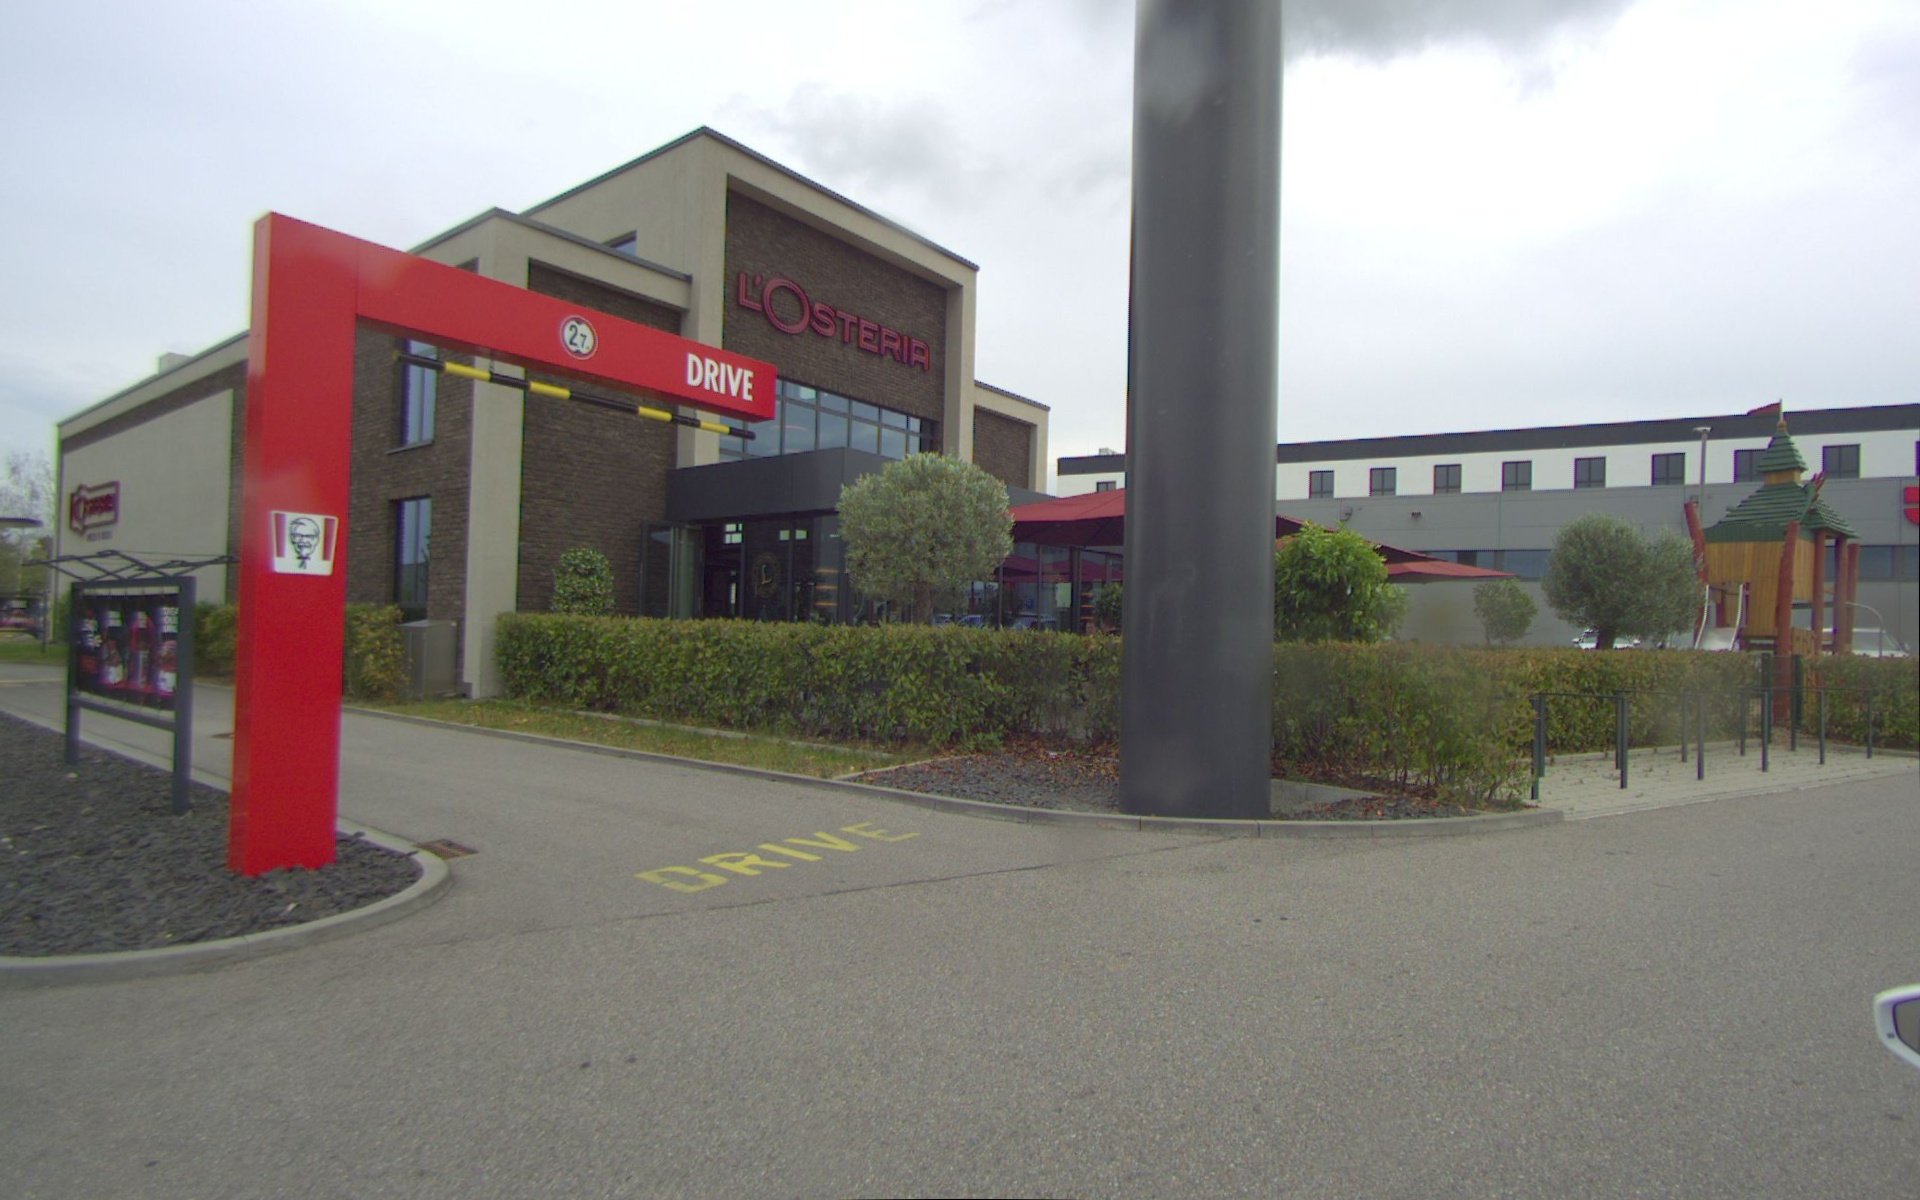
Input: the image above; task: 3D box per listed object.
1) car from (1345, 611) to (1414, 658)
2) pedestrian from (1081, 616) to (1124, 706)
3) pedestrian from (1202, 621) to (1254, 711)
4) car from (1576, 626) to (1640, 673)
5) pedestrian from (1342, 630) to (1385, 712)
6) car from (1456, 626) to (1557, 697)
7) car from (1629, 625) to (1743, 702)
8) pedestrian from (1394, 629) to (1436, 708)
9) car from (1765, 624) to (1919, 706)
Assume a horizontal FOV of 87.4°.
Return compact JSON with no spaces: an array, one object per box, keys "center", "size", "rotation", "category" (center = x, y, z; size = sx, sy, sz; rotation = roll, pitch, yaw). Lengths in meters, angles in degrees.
[{"center":[16.201,1.342,38.663],"size":[1.964,1.660,4.799],"rotation":[1,-2,28],"category":"car"},{"center":[1.973,0.836,13.927],"size":[0.415,1.215,0.454],"rotation":[-2,-3,43],"category":"pedestrian"},{"center":[5.407,1.328,20.280],"size":[0.695,1.771,0.737],"rotation":[1,-3,-28],"category":"pedestrian"},{"center":[22.745,1.746,35.383],"size":[1.712,1.572,4.256],"rotation":[-1,-3,31],"category":"car"},{"center":[8.952,1.559,22.257],"size":[0.731,1.771,0.701],"rotation":[-1,-3,35],"category":"pedestrian"},{"center":[14.405,1.582,26.370],"size":[1.966,1.672,4.566],"rotation":[-1,-3,33],"category":"car"},{"center":[17.496,1.503,24.394],"size":[1.966,1.672,4.566],"rotation":[-1,-3,33],"category":"car"},{"center":[10.395,1.549,22.930],"size":[0.731,1.771,0.701],"rotation":[-1,-3,35],"category":"pedestrian"},{"center":[20.023,1.449,23.005],"size":[1.966,1.672,4.566],"rotation":[-1,-3,33],"category":"car"}]
